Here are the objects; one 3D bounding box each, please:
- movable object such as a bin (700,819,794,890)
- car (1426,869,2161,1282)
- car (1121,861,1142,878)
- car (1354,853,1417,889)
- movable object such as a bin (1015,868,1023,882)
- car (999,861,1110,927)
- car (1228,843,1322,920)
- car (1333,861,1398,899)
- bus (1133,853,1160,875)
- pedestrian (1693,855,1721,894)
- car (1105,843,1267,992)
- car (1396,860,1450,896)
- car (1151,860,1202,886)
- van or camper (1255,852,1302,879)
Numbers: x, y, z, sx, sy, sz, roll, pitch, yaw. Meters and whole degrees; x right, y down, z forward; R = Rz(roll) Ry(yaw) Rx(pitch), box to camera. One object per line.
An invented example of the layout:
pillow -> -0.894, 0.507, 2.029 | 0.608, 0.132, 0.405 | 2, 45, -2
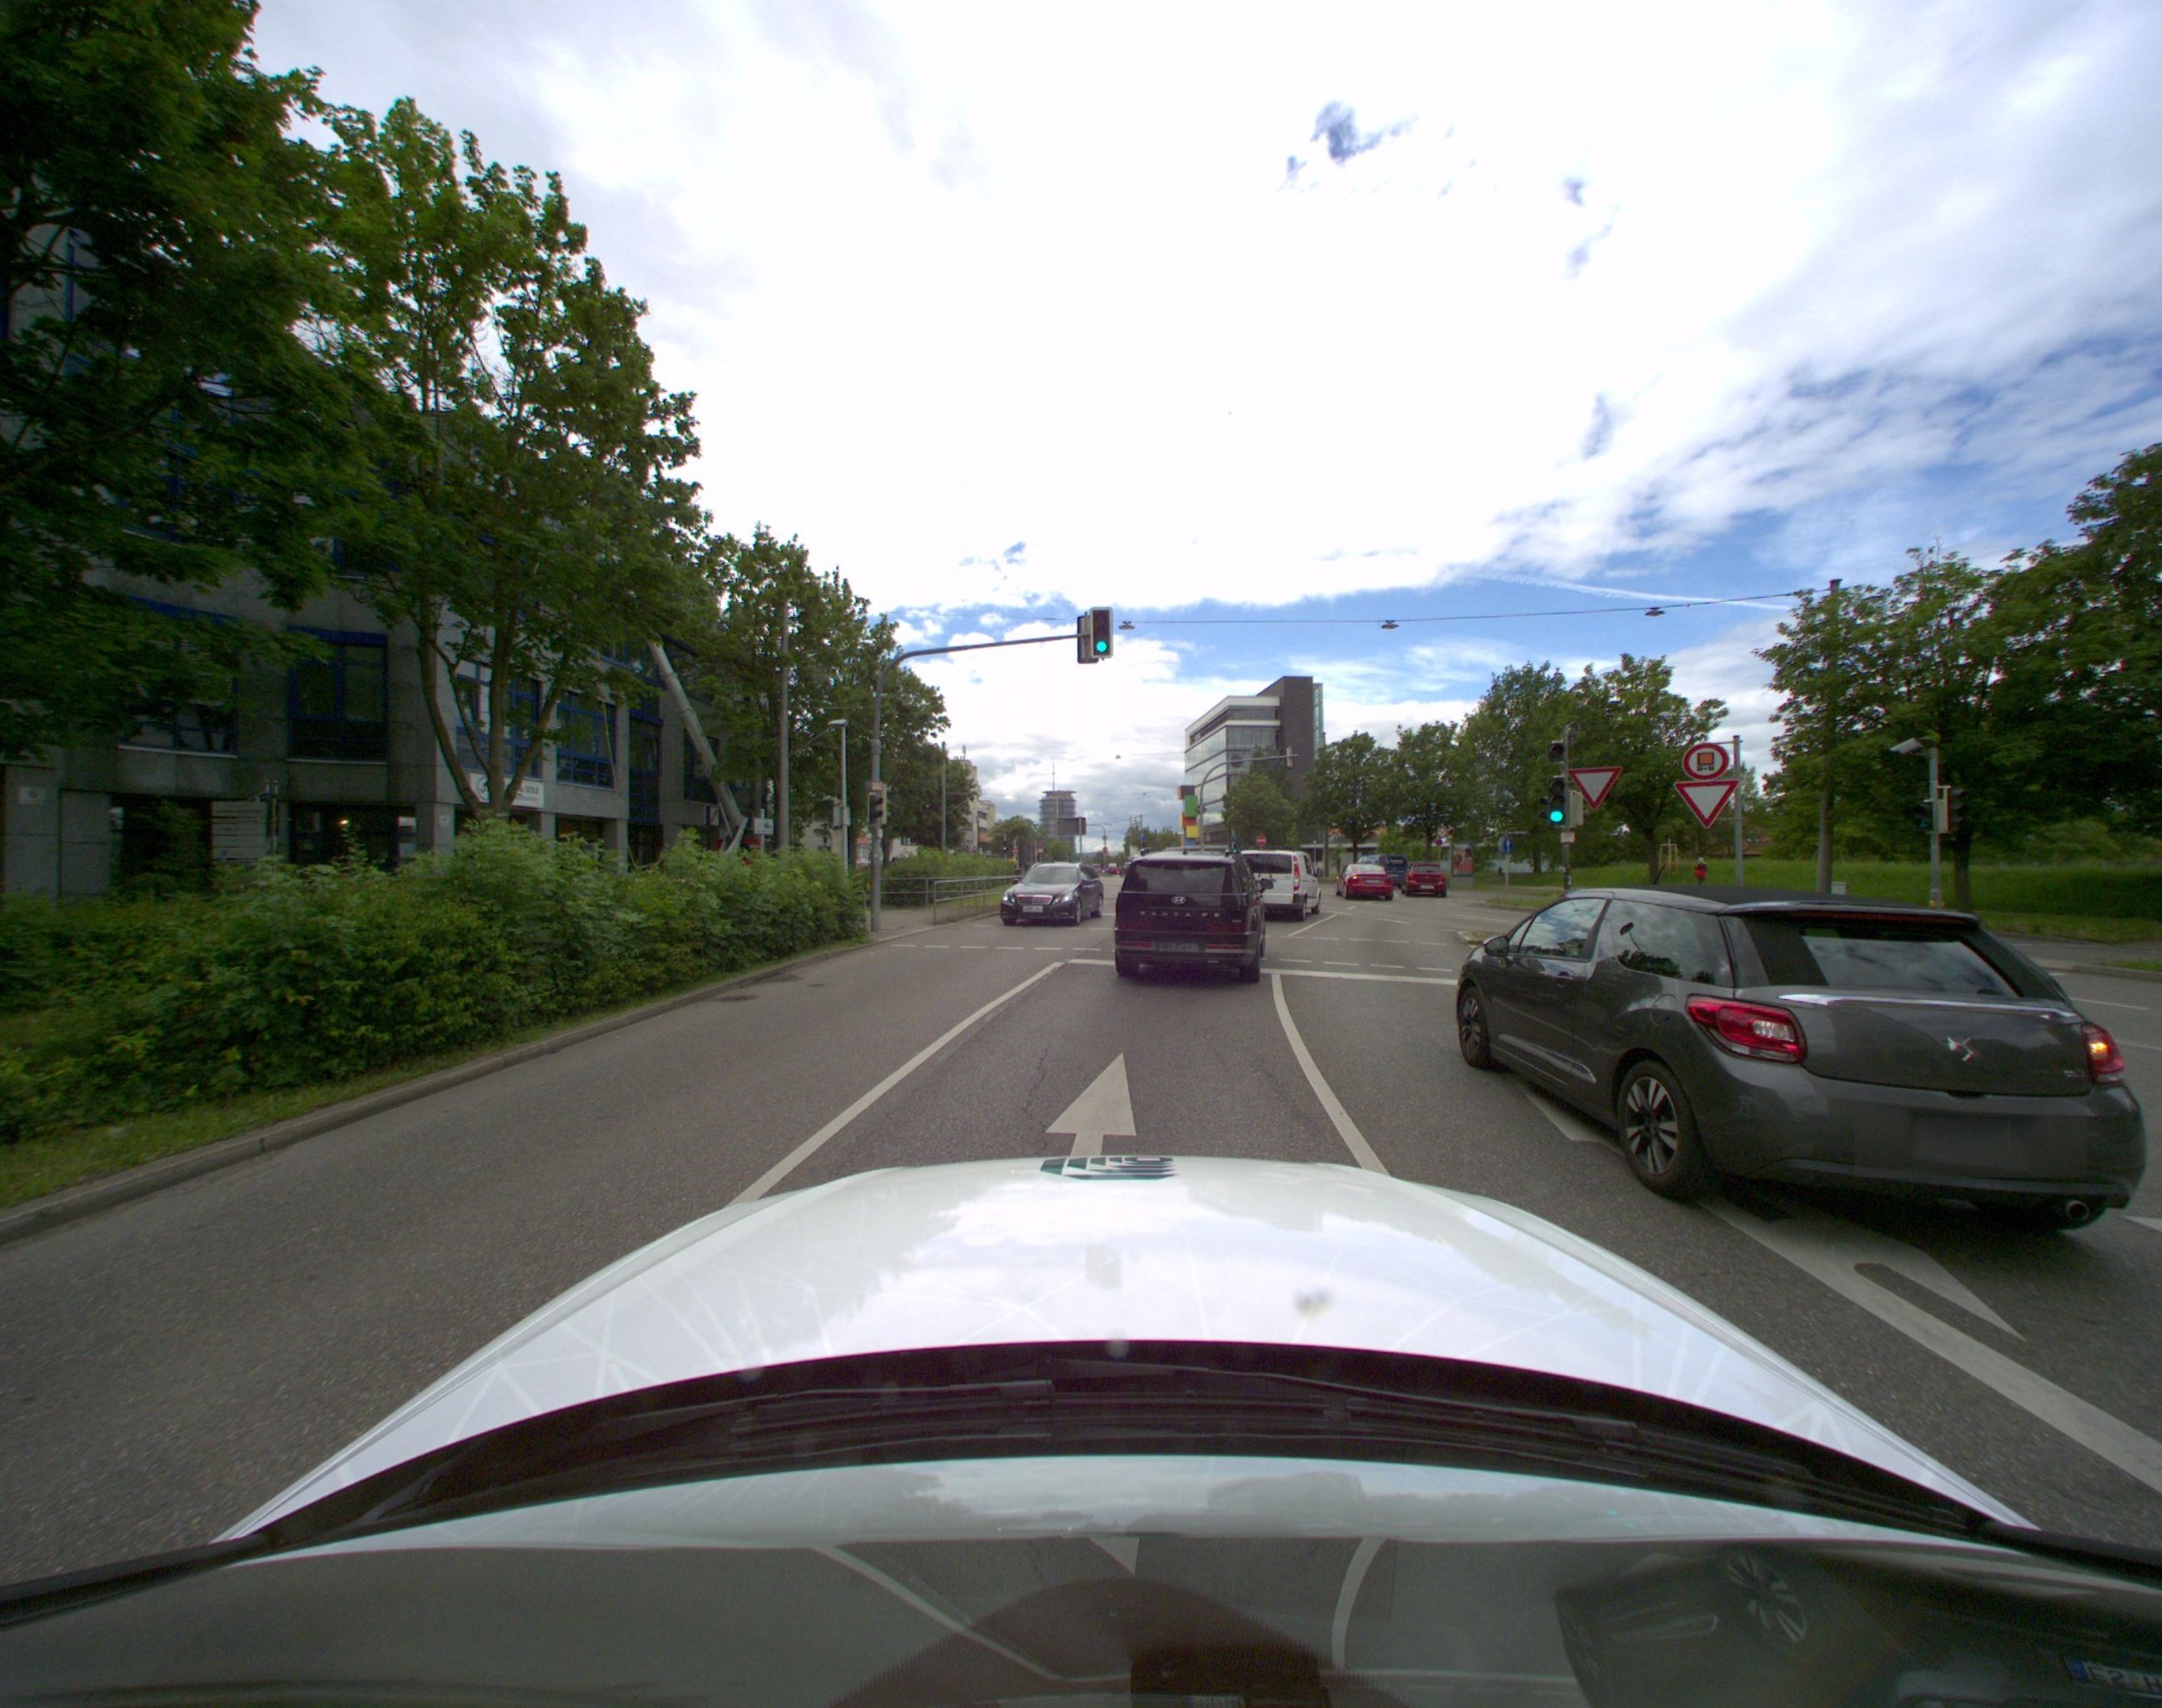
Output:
movable object such as a bin -> -13.161, 0.016, 32.373 | 1.899, 2.531, 4.127 | 3, 0, 0
car -> 3.646, 0.857, 5.106 | 1.692, 1.461, 4.070 | 1, 0, 7
car -> 5.816, 1.780, 94.979 | 1.898, 1.859, 4.703 | 1, 0, -3
car -> 16.911, 0.924, 45.483 | 1.895, 1.859, 4.711 | 1, 0, 1
movable object such as a bin -> -4.432, 1.503, 58.098 | 0.563, 1.012, 0.836 | 0, -1, -9
car -> -0.525, 0.934, 20.741 | 1.834, 1.437, 4.718 | -2, -1, 10
car -> 5.661, 0.731, 23.341 | 1.885, 1.969, 4.660 | 1, 0, 22
car -> 11.591, 1.023, 33.468 | 1.861, 1.418, 4.455 | 1, 0, 10
bus -> 9.809, 1.519, 122.502 | 2.959, 3.117, 9.235 | -2, -1, -2
pedestrian -> 26.958, 0.869, 35.094 | 0.542, 1.604, 0.699 | -5, 1, -15
car -> 1.745, 0.767, 11.998 | 1.889, 1.731, 4.462 | 1, 0, 13
car -> 15.243, 1.041, 36.469 | 1.732, 1.481, 3.733 | 0, 0, 14
car -> 5.565, 1.082, 47.958 | 1.783, 1.425, 4.381 | 1, 0, -10
van or camper -> 14.754, 0.853, 61.106 | 1.992, 1.918, 4.398 | 0, 0, -7
